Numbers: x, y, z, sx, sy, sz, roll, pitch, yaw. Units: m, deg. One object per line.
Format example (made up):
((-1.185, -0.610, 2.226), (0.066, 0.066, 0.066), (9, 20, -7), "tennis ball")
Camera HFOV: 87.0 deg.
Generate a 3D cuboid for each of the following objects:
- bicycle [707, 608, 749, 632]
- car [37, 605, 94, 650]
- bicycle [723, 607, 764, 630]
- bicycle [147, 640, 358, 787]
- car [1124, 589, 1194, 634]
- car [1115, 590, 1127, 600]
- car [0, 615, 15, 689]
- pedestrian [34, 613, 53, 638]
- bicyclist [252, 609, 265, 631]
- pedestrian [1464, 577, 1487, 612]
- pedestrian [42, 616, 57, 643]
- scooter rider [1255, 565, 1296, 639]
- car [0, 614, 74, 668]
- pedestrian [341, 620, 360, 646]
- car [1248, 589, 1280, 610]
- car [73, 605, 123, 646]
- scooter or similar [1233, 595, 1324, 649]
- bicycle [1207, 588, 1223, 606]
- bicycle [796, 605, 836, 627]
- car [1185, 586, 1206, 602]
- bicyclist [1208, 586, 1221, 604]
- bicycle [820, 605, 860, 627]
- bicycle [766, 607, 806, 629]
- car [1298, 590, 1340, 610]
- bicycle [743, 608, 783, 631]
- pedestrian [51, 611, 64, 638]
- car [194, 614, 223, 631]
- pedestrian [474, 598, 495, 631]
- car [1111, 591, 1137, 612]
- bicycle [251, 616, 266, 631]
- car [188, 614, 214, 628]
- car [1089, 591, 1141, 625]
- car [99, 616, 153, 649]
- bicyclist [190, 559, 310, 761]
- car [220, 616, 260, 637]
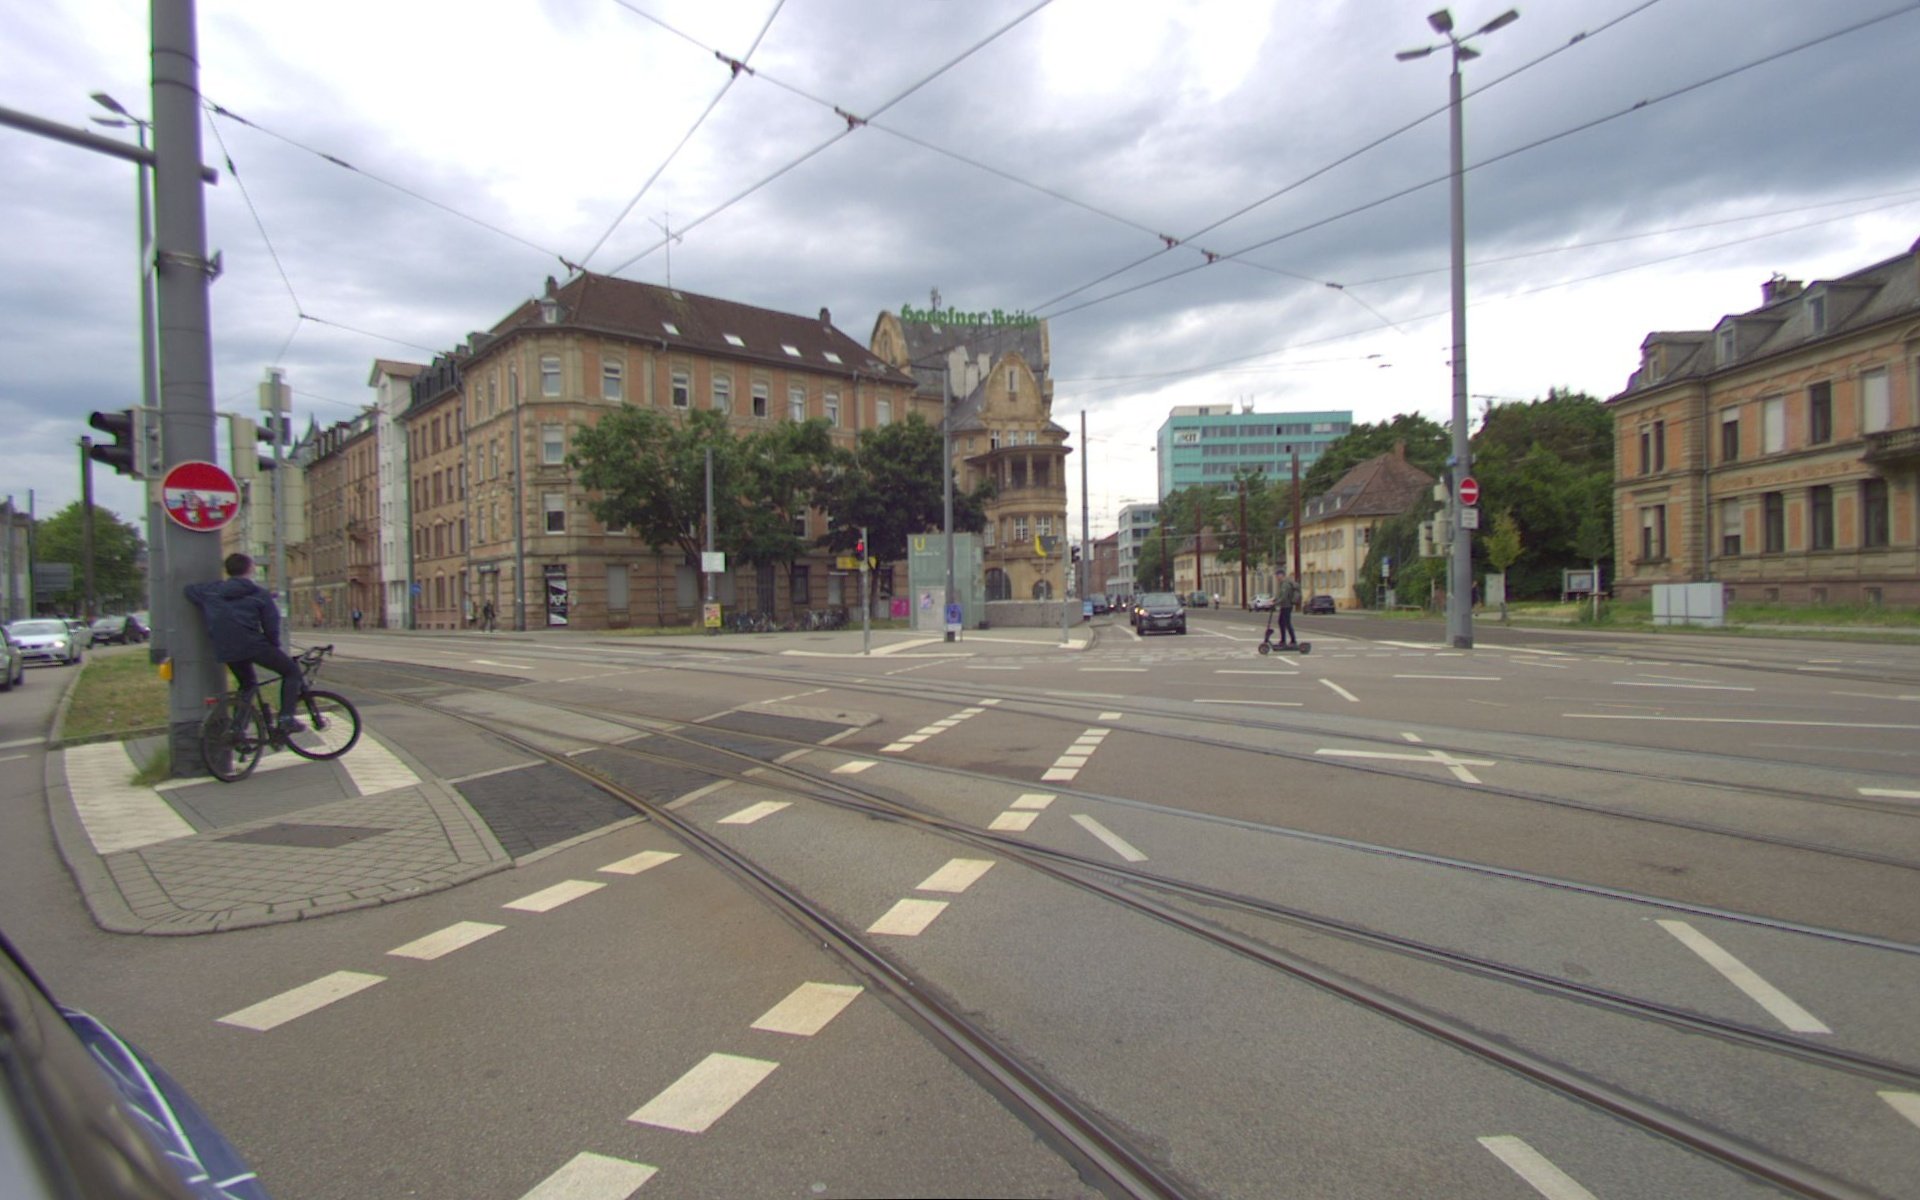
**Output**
((-10.710, 0.923, 46.735), (0.824, 1.038, 2.400), (-1, 0, -42), "bicycle")
((-43.475, 1.309, 49.248), (1.969, 2.029, 4.006), (-1, 0, -41), "car")
((-10.126, 0.877, 47.278), (0.743, 1.038, 2.400), (-1, 0, -42), "bicycle")
((-6.030, 0.918, 8.737), (0.522, 1.078, 1.610), (-1, 0, 9), "bicycle")
((7.732, 0.401, 39.715), (1.973, 1.623, 4.243), (-1, 0, 2), "car")
((32.435, -1.032, 204.156), (1.974, 2.029, 3.996), (-1, 0, 3), "car")
((-20.150, 1.023, 20.171), (1.783, 1.417, 3.988), (-1, 0, -41), "car")
((-78.192, 2.165, 86.376), (1.160, 2.029, 1.033), (-1, 0, -42), "pedestrian")
((-61.993, 1.750, 89.417), (0.812, 1.880, 0.925), (-1, 0, -42), "bicyclist")
((28.240, -0.295, 55.475), (0.800, 1.846, 0.848), (-1, 0, 5), "pedestrian")
((-58.426, 1.892, 64.947), (0.653, 1.693, 0.651), (-1, 0, -43), "pedestrian")
((7.153, 0.049, 22.967), (0.813, 1.640, 0.567), (-1, 0, 12), "scooter rider")
((-28.118, 1.197, 30.523), (1.943, 1.467, 4.200), (-1, 0, -39), "car")
((-44.394, 2.405, 73.738), (0.713, 1.846, 0.916), (-1, 0, 13), "pedestrian")
((27.291, -0.049, 90.841), (1.975, 1.863, 3.993), (-1, 0, 6), "car")
((-46.271, 1.339, 54.306), (1.969, 2.029, 4.006), (-1, 0, -41), "car")
((7.205, 0.503, 22.951), (1.888, 1.174, 0.572), (-1, 0, 14), "scooter or similar")
((25.656, -0.281, 101.803), (1.073, 1.763, 3.081), (-1, 0, 6), "bicycle")
((-7.061, 0.804, 49.624), (0.743, 1.038, 2.400), (-1, 0, -42), "bicycle")
((28.425, -0.746, 122.125), (1.975, 1.863, 3.993), (-1, 0, 6), "car")
((25.623, -0.519, 101.760), (1.079, 1.796, 1.015), (-1, 0, 5), "bicyclist")
((-6.022, 0.810, 50.595), (0.743, 1.038, 2.400), (-1, 0, -42), "bicycle")
((-8.419, 0.865, 48.811), (0.743, 1.038, 2.400), (-1, 0, -42), "bicycle")
((26.392, -0.003, 74.488), (1.975, 1.442, 3.993), (-1, 0, 6), "car")
((-9.375, 0.927, 48.083), (0.743, 1.038, 2.400), (-1, 0, -42), "bicycle")
((-64.942, 1.759, 72.803), (0.642, 1.929, 0.603), (-1, 0, -42), "pedestrian")
((-75.214, 2.262, 101.232), (1.809, 1.657, 4.234), (-2, 0, -43), "car")
((-25.244, 0.760, 53.726), (0.799, 1.688, 0.800), (-1, 0, 45), "pedestrian")
((13.992, 0.134, 86.624), (1.809, 1.773, 3.997), (-1, 0, 4), "car")
((-61.955, 2.038, 89.324), (0.787, 1.302, 2.414), (-1, 0, -41), "bicycle")
((-83.652, 2.303, 111.484), (1.789, 1.442, 4.021), (-2, 0, -43), "car")
((8.257, 0.404, 54.296), (2.133, 1.727, 4.922), (-1, 0, 2), "car")
((-49.244, 1.894, 59.827), (2.336, 1.768, 5.139), (-1, 0, -39), "car")
((-6.053, 0.496, 8.652), (0.512, 1.651, 0.653), (-1, 0, 9), "bicyclist")
((-54.570, 1.984, 76.668), (1.861, 1.481, 4.468), (-2, 0, -43), "car")
